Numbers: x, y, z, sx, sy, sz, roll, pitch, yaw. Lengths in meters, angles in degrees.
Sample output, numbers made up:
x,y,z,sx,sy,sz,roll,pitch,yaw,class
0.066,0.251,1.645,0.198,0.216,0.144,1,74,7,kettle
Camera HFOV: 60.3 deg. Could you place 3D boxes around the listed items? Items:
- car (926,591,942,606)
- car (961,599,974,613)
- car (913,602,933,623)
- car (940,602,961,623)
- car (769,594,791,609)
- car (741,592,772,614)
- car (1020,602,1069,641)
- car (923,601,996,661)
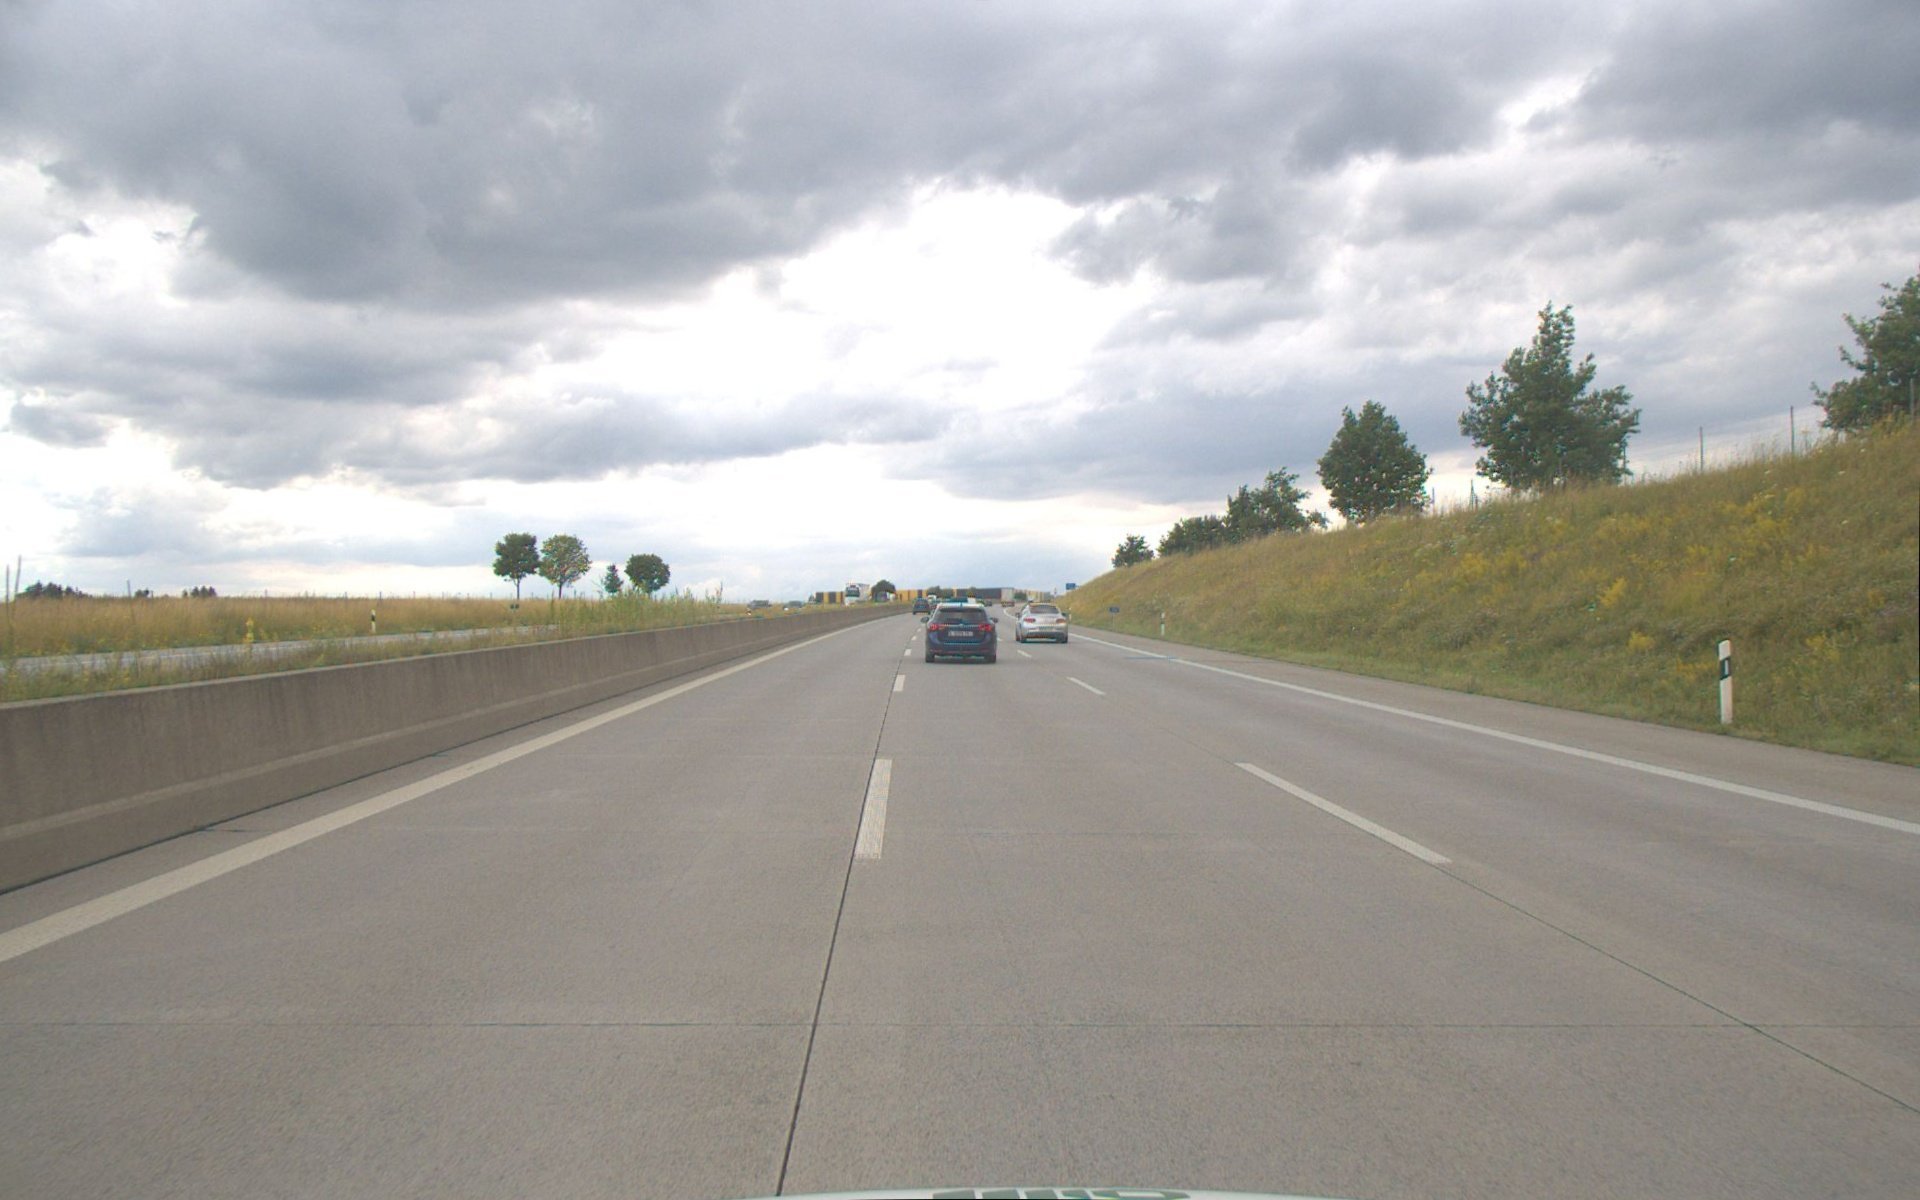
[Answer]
x,y,z,sx,sy,sz,roll,pitch,yaw,class
-3.563,-0.173,225.838,1.953,2.049,3.998,1,-1,-2,car
1.154,0.946,259.254,1.952,2.049,4.001,1,-1,2,car
-3.839,1.300,171.406,2.005,2.049,3.998,1,-1,-2,car
-0.929,1.282,165.880,1.953,2.049,3.998,1,-1,-2,car
-17.183,0.169,158.014,1.628,1.423,3.999,0,0,-1,car
-16.277,0.242,132.396,1.953,1.713,4.062,0,0,-1,car
3.147,0.800,62.104,1.751,1.428,4.222,0,0,2,car
0.010,0.762,41.469,1.738,1.438,4.000,0,0,0,car
